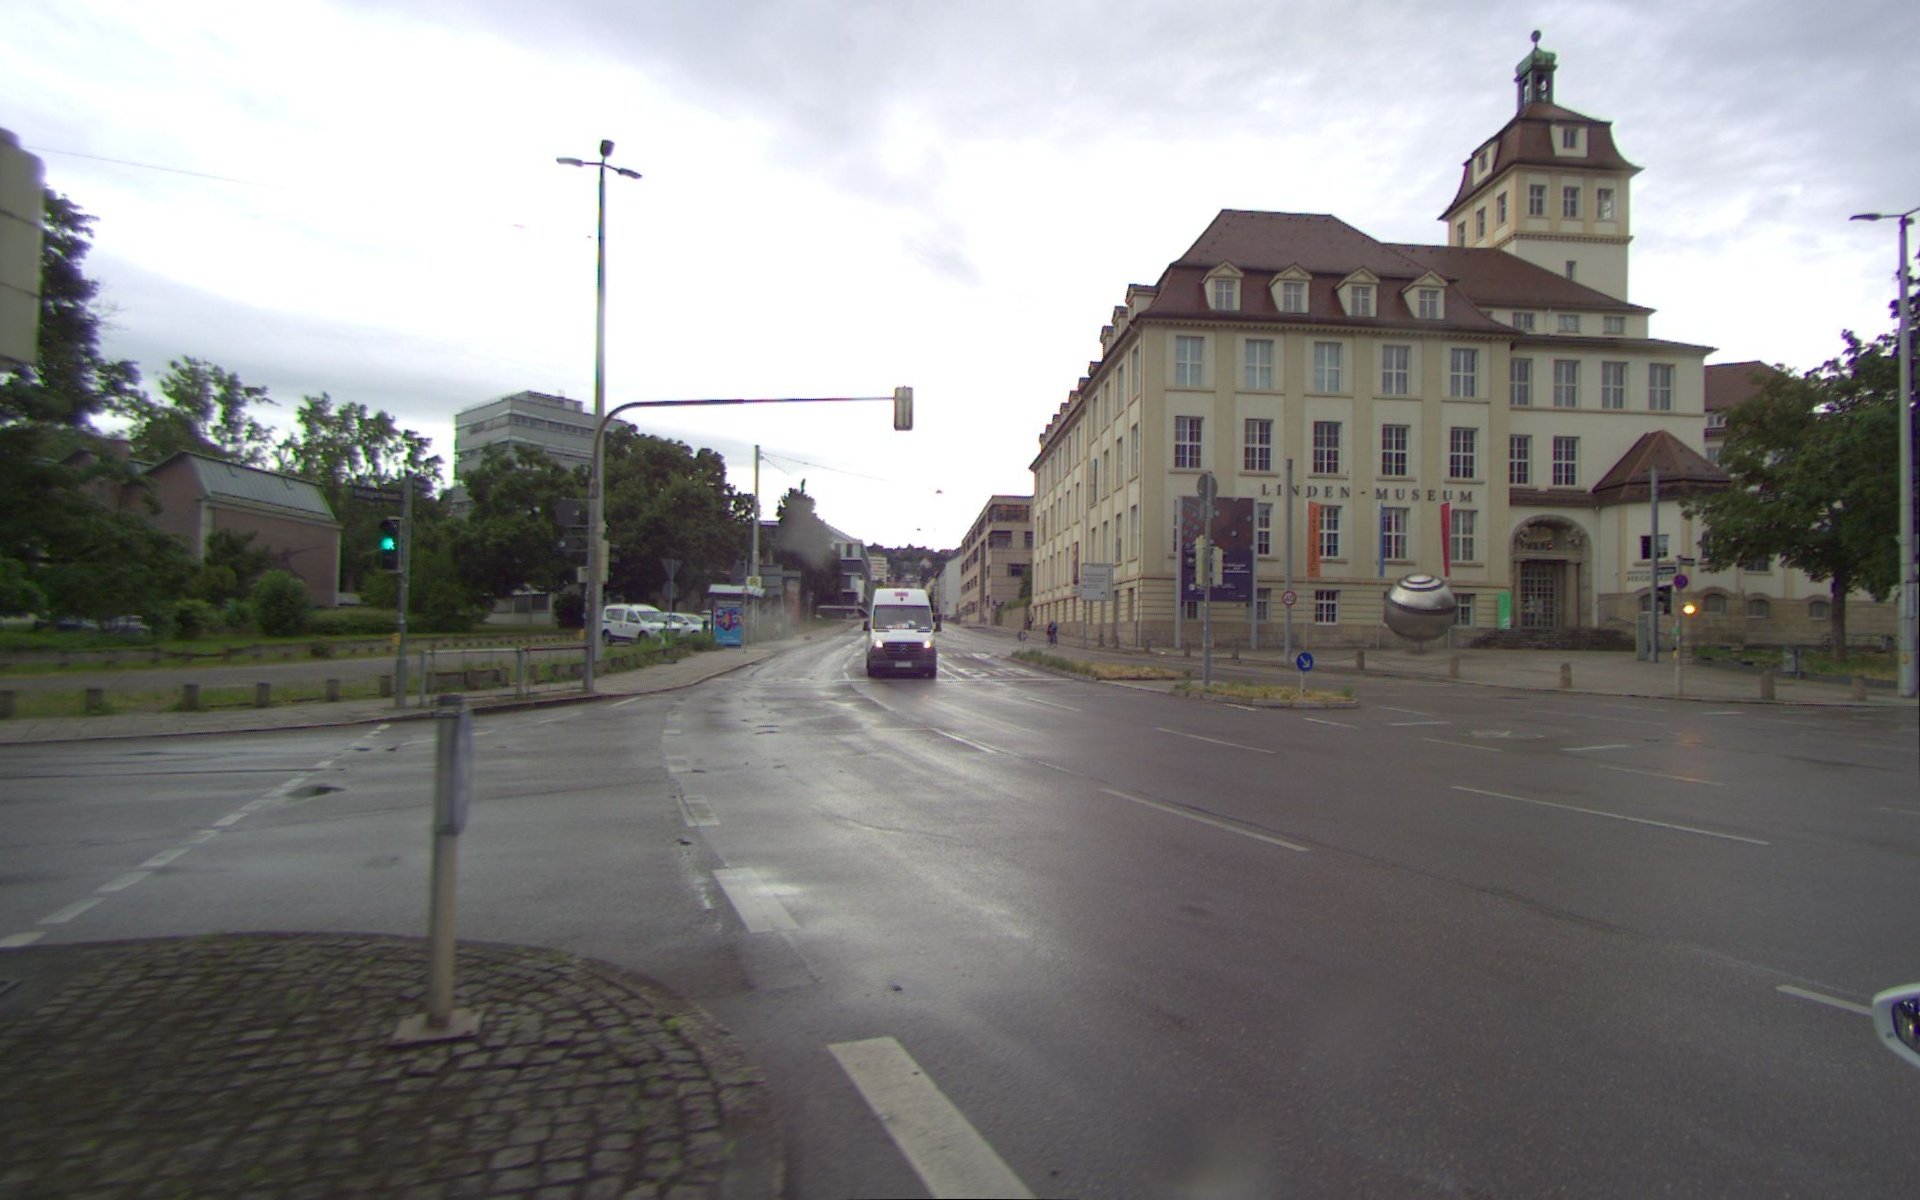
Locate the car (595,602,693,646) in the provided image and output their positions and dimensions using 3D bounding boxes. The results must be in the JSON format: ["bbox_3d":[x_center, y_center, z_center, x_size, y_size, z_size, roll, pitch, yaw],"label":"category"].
[{"bbox_3d":[-13.744,1.022,43.592,4.436,1.791,1.827,0,-2,38],"label":"car"}]

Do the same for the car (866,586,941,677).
[{"bbox_3d":[-1.848,0.946,31.010,2.026,2.527,6.033,0,-1,-6],"label":"car"}]

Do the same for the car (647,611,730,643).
[{"bbox_3d":[-13.872,1.360,51.279,3.928,1.434,1.831,2,-1,30],"label":"car"}]

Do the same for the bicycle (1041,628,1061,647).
[{"bbox_3d":[5.523,2.276,60.843,0.637,1.070,1.816,2,-1,-13],"label":"bicycle"}]

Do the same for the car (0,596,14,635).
[{"bbox_3d":[-54.049,0.722,53.500,4.980,2.101,2.288,3,-1,-2],"label":"car"}]

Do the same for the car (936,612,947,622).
[{"bbox_3d":[-3.406,3.139,185.451,1.809,1.580,3.998,3,1,-3],"label":"car"}]

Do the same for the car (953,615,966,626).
[{"bbox_3d":[-0.116,3.339,164.953,1.809,1.580,3.998,3,1,-3],"label":"car"}]

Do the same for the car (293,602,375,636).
[{"bbox_3d":[-57.027,1.712,91.749,3.529,2.854,6.463,3,-1,-2],"label":"car"}]

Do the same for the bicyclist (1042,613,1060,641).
[{"bbox_3d":[5.508,1.627,60.881,0.690,1.654,1.126,3,-1,-12],"label":"bicyclist"}]

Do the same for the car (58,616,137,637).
[{"bbox_3d":[-54.531,1.654,63.558,3.488,1.158,1.592,3,-1,-3],"label":"car"}]

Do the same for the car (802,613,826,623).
[{"bbox_3d":[-32.652,3.946,224.504,5.145,2.040,1.999,3,-1,-5],"label":"car"}]

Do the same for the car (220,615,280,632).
[{"bbox_3d":[-55.405,1.813,78.441,3.488,1.158,1.592,3,-1,-3],"label":"car"}]

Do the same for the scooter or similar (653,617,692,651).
[{"bbox_3d":[-10.458,1.244,36.581,0.543,1.182,1.250,2,-1,34],"label":"scooter or similar"}]

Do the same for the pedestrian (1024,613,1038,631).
[{"bbox_3d":[7.027,2.164,99.887,1.219,1.812,1.595,0,-1,-1],"label":"pedestrian"}]

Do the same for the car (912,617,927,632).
[{"bbox_3d":[-5.088,3.128,127.172,1.862,1.647,3.644,3,1,-2],"label":"car"}]

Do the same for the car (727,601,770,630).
[{"bbox_3d":[-13.551,1.016,64.104,1.829,1.765,4.051,2,-2,-25],"label":"car"}]

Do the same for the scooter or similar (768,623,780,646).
[{"bbox_3d":[-10.725,1.992,58.053,0.450,1.283,0.977,3,-1,1],"label":"scooter or similar"}]

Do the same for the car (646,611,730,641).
[{"bbox_3d":[-13.889,1.309,51.249,4.003,1.461,1.851,0,-2,31],"label":"car"}]
